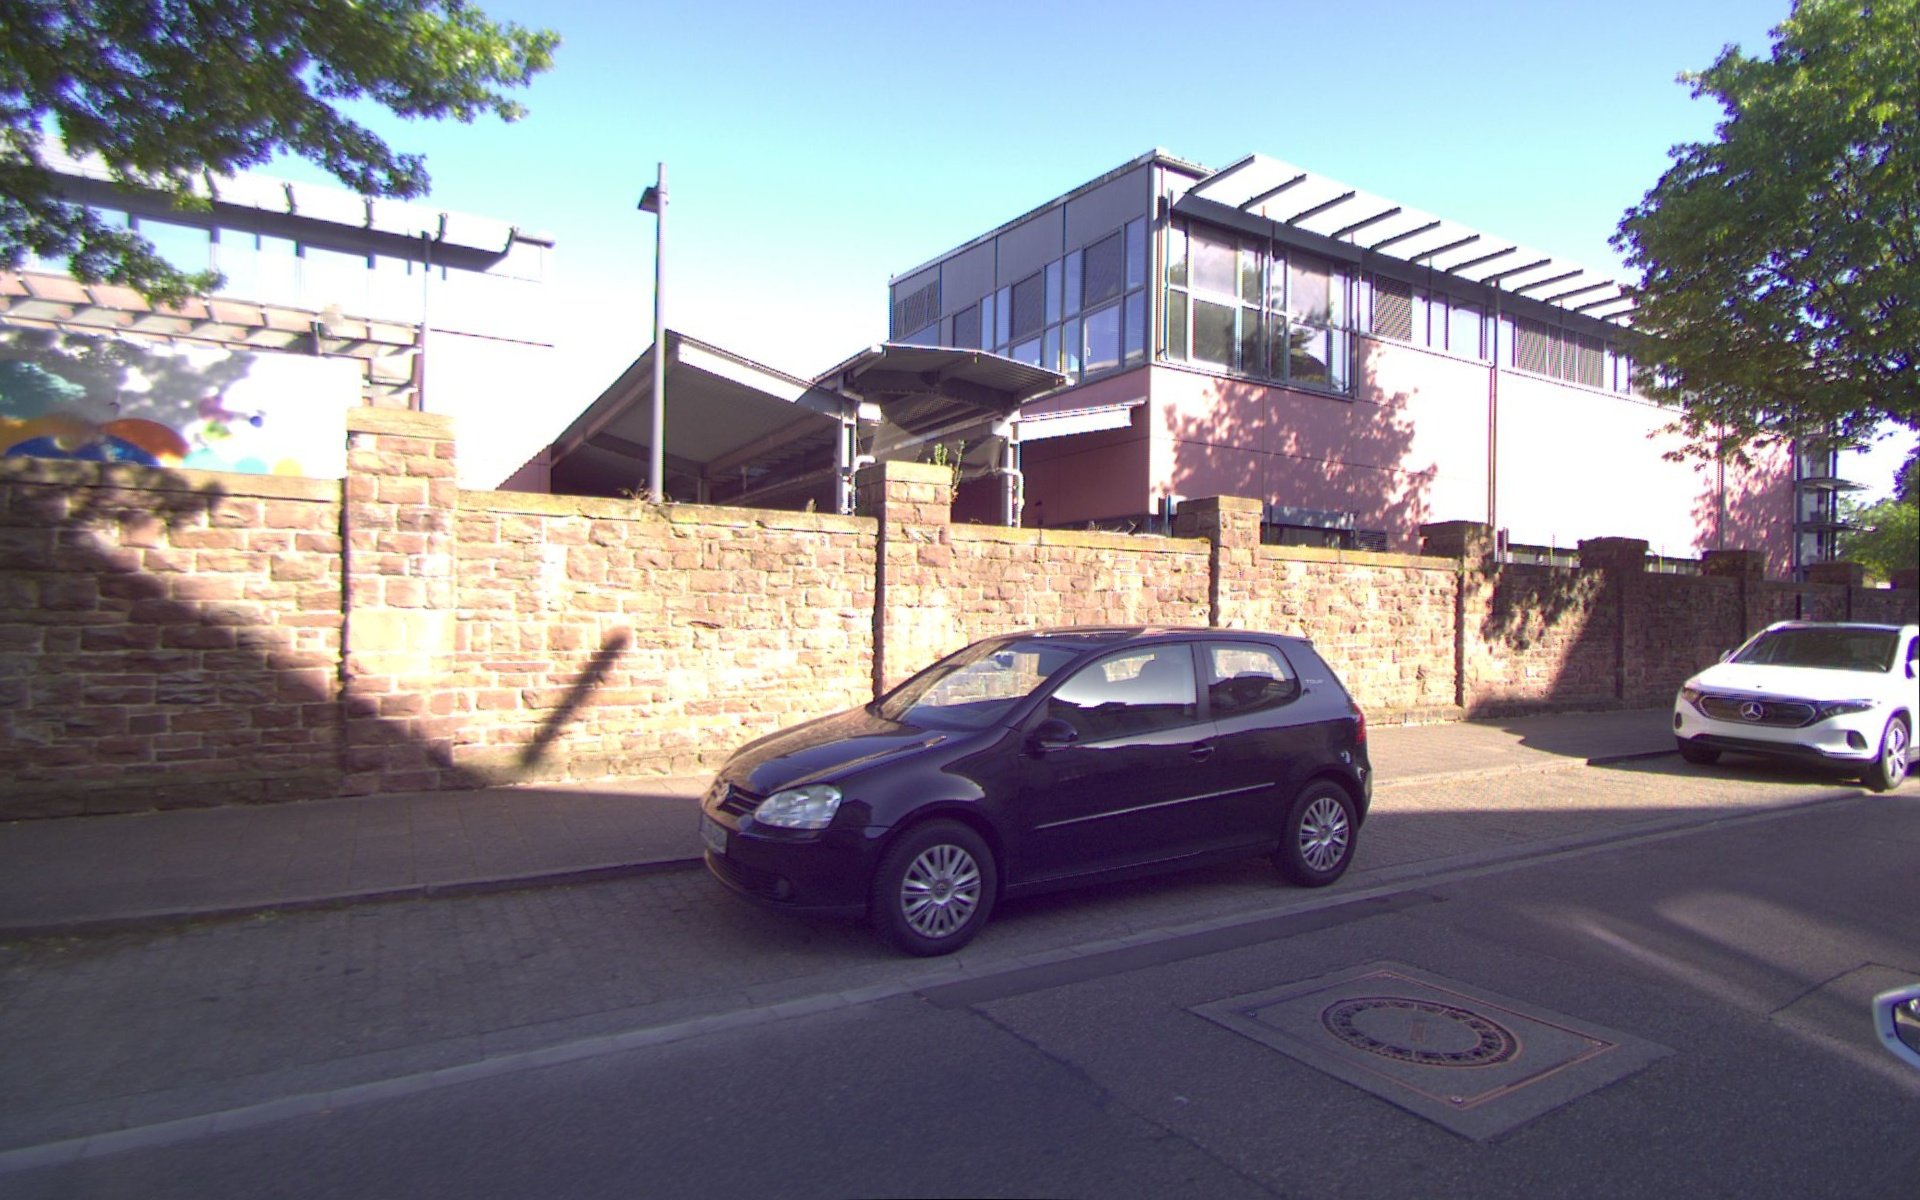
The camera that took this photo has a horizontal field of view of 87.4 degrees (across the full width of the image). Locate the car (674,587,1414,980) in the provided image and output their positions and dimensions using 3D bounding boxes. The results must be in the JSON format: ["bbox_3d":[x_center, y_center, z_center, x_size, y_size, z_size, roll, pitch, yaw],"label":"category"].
[{"bbox_3d":[0.581,0.795,5.892,4.057,1.613,1.729,1,0,-29],"label":"car"}]

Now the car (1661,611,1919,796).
[{"bbox_3d":[9.822,1.014,11.238,4.303,1.706,1.711,1,-1,-32],"label":"car"}]

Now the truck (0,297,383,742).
[{"bbox_3d":[-9.554,-0.725,9.198,7.343,3.761,2.718,1,1,-31],"label":"truck"}]
